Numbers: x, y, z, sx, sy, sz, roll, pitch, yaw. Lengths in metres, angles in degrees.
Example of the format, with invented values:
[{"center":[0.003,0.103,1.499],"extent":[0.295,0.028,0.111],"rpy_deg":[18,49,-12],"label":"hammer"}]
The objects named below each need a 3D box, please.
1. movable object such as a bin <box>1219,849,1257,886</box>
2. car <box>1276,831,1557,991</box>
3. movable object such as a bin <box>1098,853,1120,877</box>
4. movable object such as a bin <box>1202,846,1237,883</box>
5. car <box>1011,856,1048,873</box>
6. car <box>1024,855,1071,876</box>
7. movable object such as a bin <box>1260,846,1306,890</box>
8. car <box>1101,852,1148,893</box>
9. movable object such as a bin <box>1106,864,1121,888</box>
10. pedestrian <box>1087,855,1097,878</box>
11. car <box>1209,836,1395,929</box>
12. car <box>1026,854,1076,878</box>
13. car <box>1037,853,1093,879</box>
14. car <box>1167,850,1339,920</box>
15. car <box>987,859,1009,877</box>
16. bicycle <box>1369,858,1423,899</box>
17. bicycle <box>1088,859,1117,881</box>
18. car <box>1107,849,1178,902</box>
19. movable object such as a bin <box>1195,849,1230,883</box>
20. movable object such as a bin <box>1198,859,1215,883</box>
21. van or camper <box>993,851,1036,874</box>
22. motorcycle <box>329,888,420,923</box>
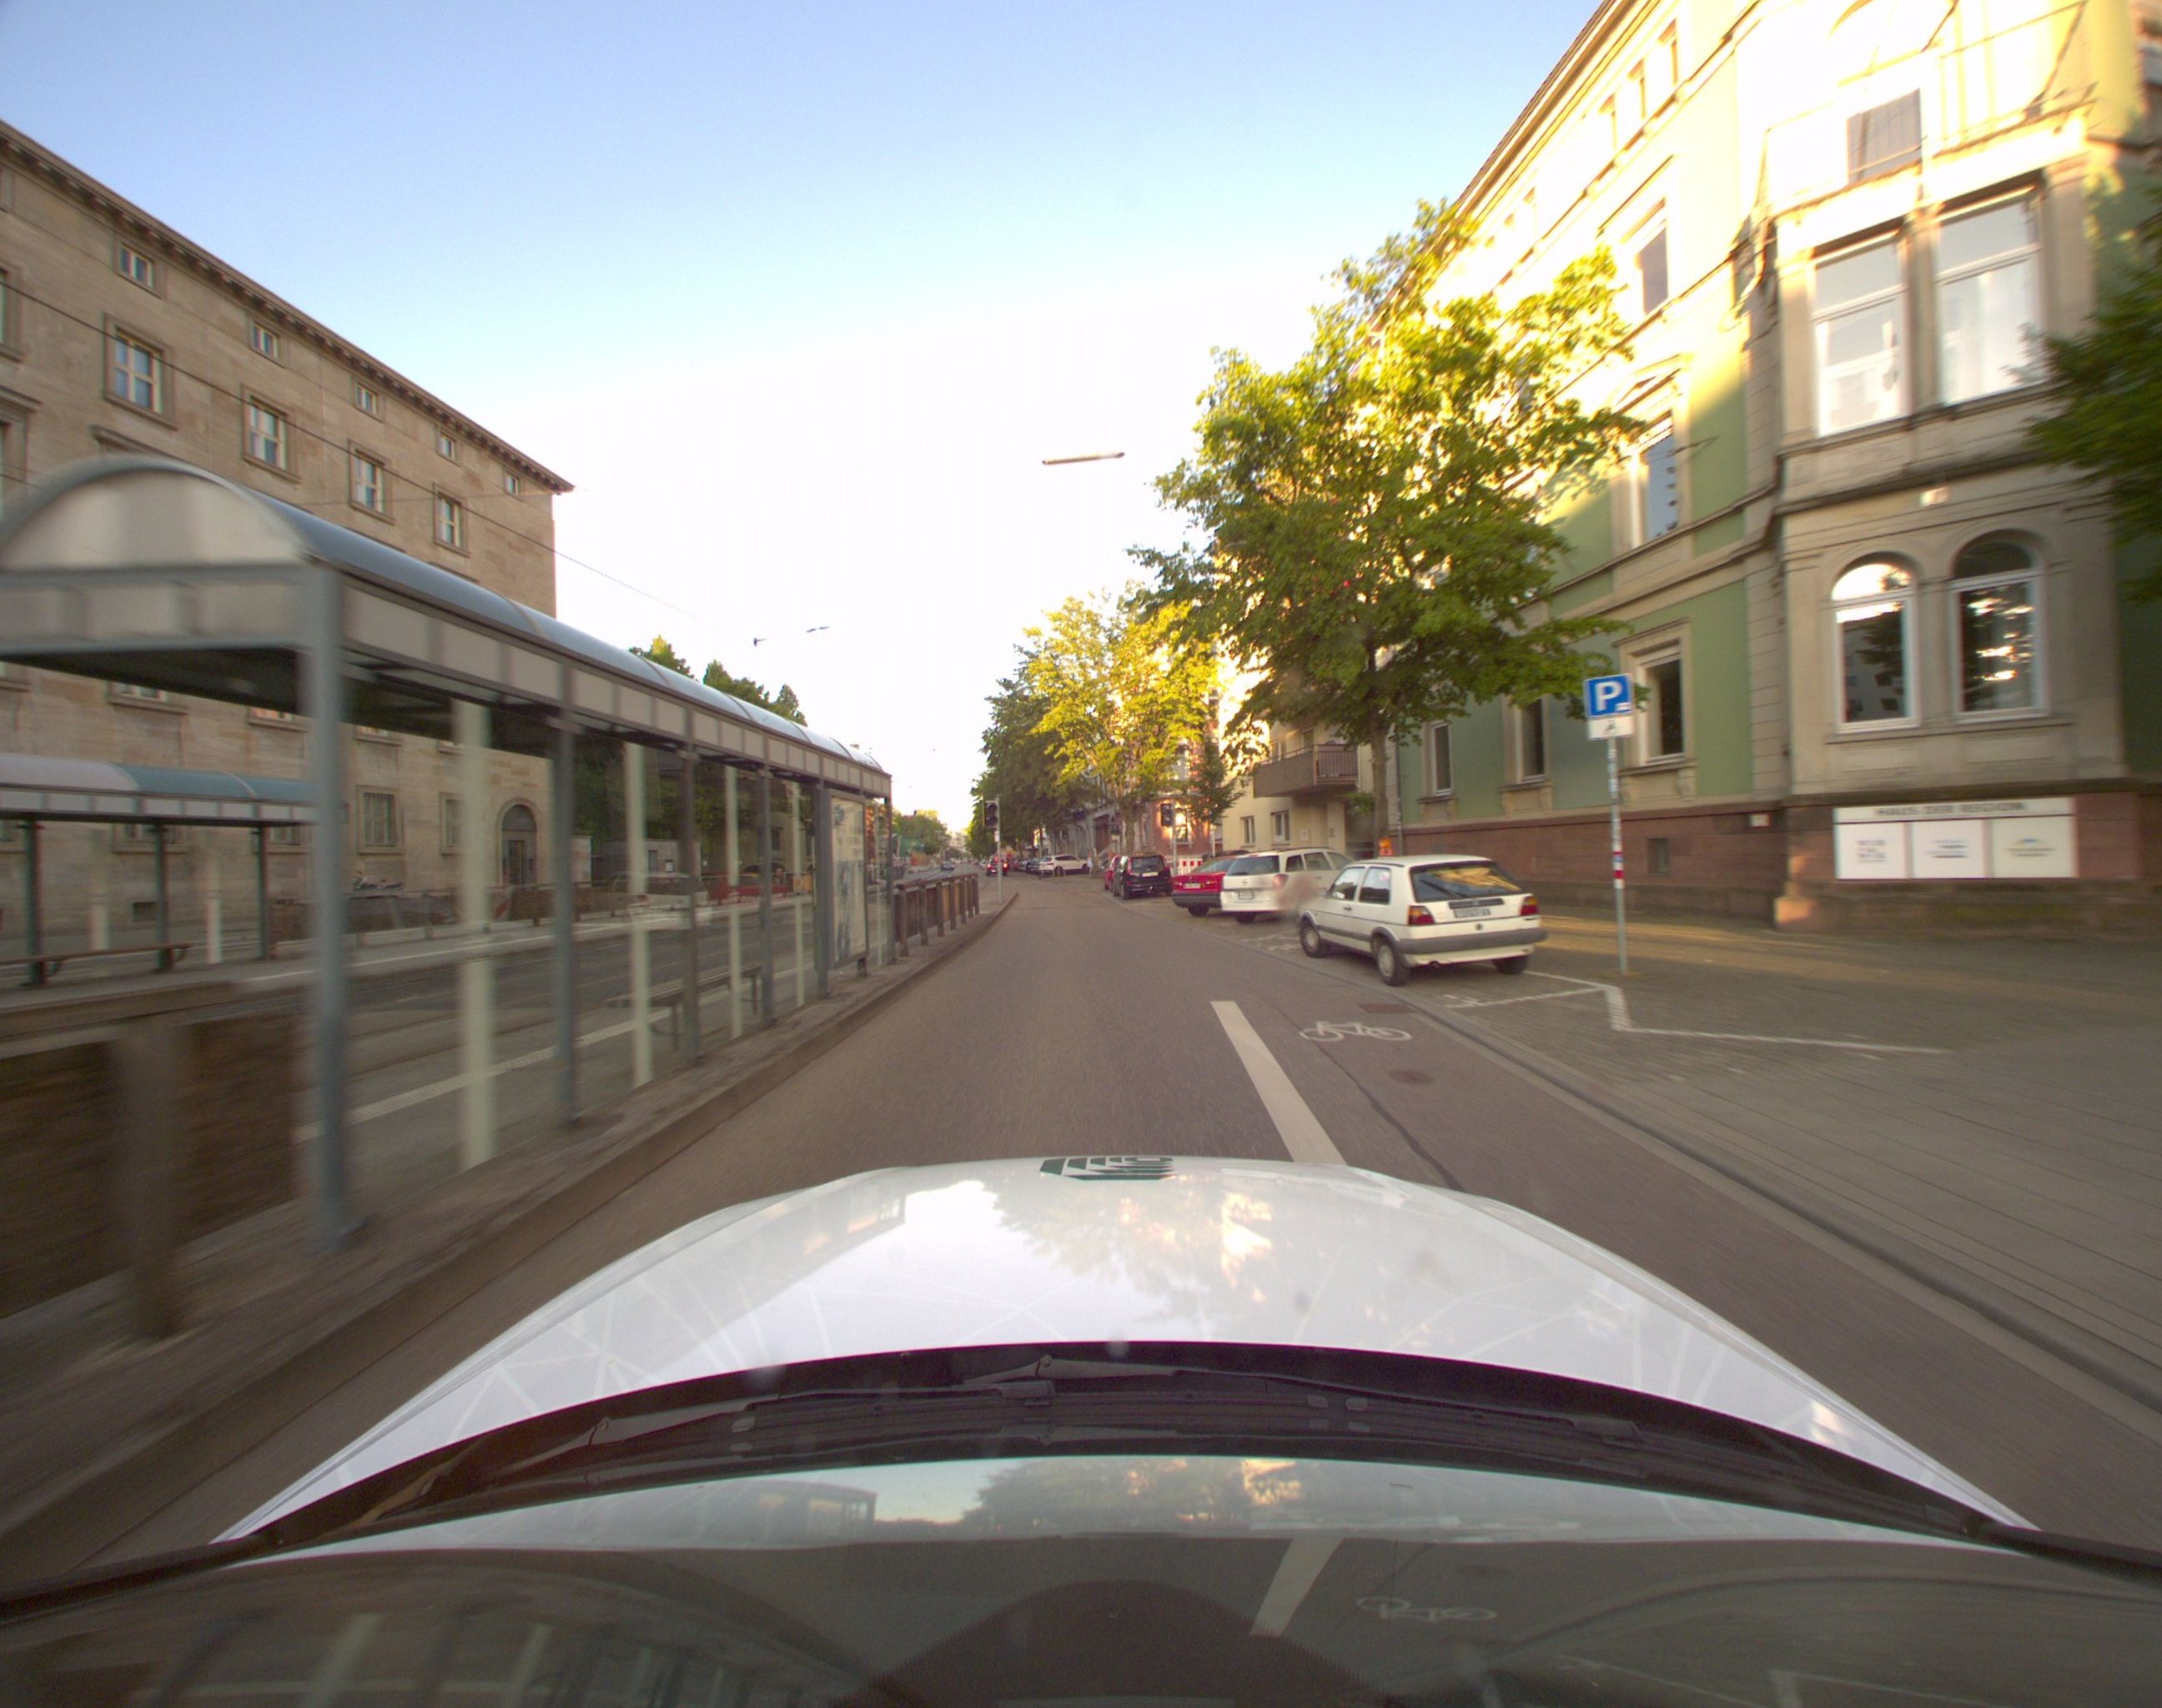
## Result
[{"center":[6.522,0.563,33.919],"extent":[1.140,1.502,1.266],"rpy_deg":[-2,-1,-9],"label":"movable object such as a bin"},{"center":[4.070,0.614,10.676],"extent":[1.677,1.552,3.993],"rpy_deg":[-5,0,-5],"label":"car"},{"center":[1.812,0.691,52.378],"extent":[1.140,1.502,1.394],"rpy_deg":[-2,-1,-9],"label":"movable object such as a bin"},{"center":[5.965,0.450,35.220],"extent":[1.072,1.502,1.314],"rpy_deg":[-2,-1,-10],"label":"movable object such as a bin"},{"center":[-6.171,1.278,98.199],"extent":[3.973,1.603,1.820],"rpy_deg":[-6,1,-35],"label":"car"},{"center":[-3.140,1.082,75.995],"extent":[3.976,1.603,1.818],"rpy_deg":[-5,0,-41],"label":"car"},{"center":[7.301,0.496,29.535],"extent":[1.113,1.502,1.477],"rpy_deg":[-2,-1,-9],"label":"movable object such as a bin"},{"center":[1.824,0.774,35.103],"extent":[1.561,1.536,3.688],"rpy_deg":[-4,0,-4],"label":"car"},{"center":[1.591,1.057,39.829],"extent":[0.709,1.153,0.589],"rpy_deg":[-2,-1,4],"label":"movable object such as a bin"},{"center":[0.794,0.921,59.720],"extent":[0.586,1.609,0.623],"rpy_deg":[-2,-1,-8],"label":"pedestrian"},{"center":[4.782,0.519,17.313],"extent":[4.232,1.725,1.701],"rpy_deg":[-1,-1,-41],"label":"car"},{"center":[-2.545,1.020,69.776],"extent":[1.878,1.668,3.979],"rpy_deg":[-5,0,45],"label":"car"},{"center":[-1.208,0.918,62.069],"extent":[3.975,1.626,1.654],"rpy_deg":[-5,1,-39],"label":"car"},{"center":[4.225,0.686,19.671],"extent":[4.228,1.454,1.627],"rpy_deg":[-1,-1,-36],"label":"car"},{"center":[-7.644,1.313,74.772],"extent":[1.881,1.620,3.987],"rpy_deg":[1,-1,-9],"label":"car"},{"center":[8.550,0.653,22.178],"extent":[0.650,1.074,1.551],"rpy_deg":[-2,0,-9],"label":"bicycle"},{"center":[1.332,0.964,50.630],"extent":[1.929,1.266,0.594],"rpy_deg":[-2,-1,-43],"label":"bicycle"},{"center":[2.108,0.732,29.043],"extent":[1.741,1.632,4.080],"rpy_deg":[-4,0,-6],"label":"car"},{"center":[6.046,0.565,37.468],"extent":[1.140,1.502,1.593],"rpy_deg":[-2,-1,-9],"label":"movable object such as a bin"},{"center":[5.585,0.769,36.225],"extent":[0.554,1.047,0.569],"rpy_deg":[-2,-1,-10],"label":"movable object such as a bin"},{"center":[-8.905,1.115,109.842],"extent":[5.582,2.530,2.061],"rpy_deg":[-5,0,-43],"label":"van or camper"},{"center":[-24.937,1.799,28.830],"extent":[0.695,1.074,2.657],"rpy_deg":[-3,0,5],"label":"motorcycle"}]
